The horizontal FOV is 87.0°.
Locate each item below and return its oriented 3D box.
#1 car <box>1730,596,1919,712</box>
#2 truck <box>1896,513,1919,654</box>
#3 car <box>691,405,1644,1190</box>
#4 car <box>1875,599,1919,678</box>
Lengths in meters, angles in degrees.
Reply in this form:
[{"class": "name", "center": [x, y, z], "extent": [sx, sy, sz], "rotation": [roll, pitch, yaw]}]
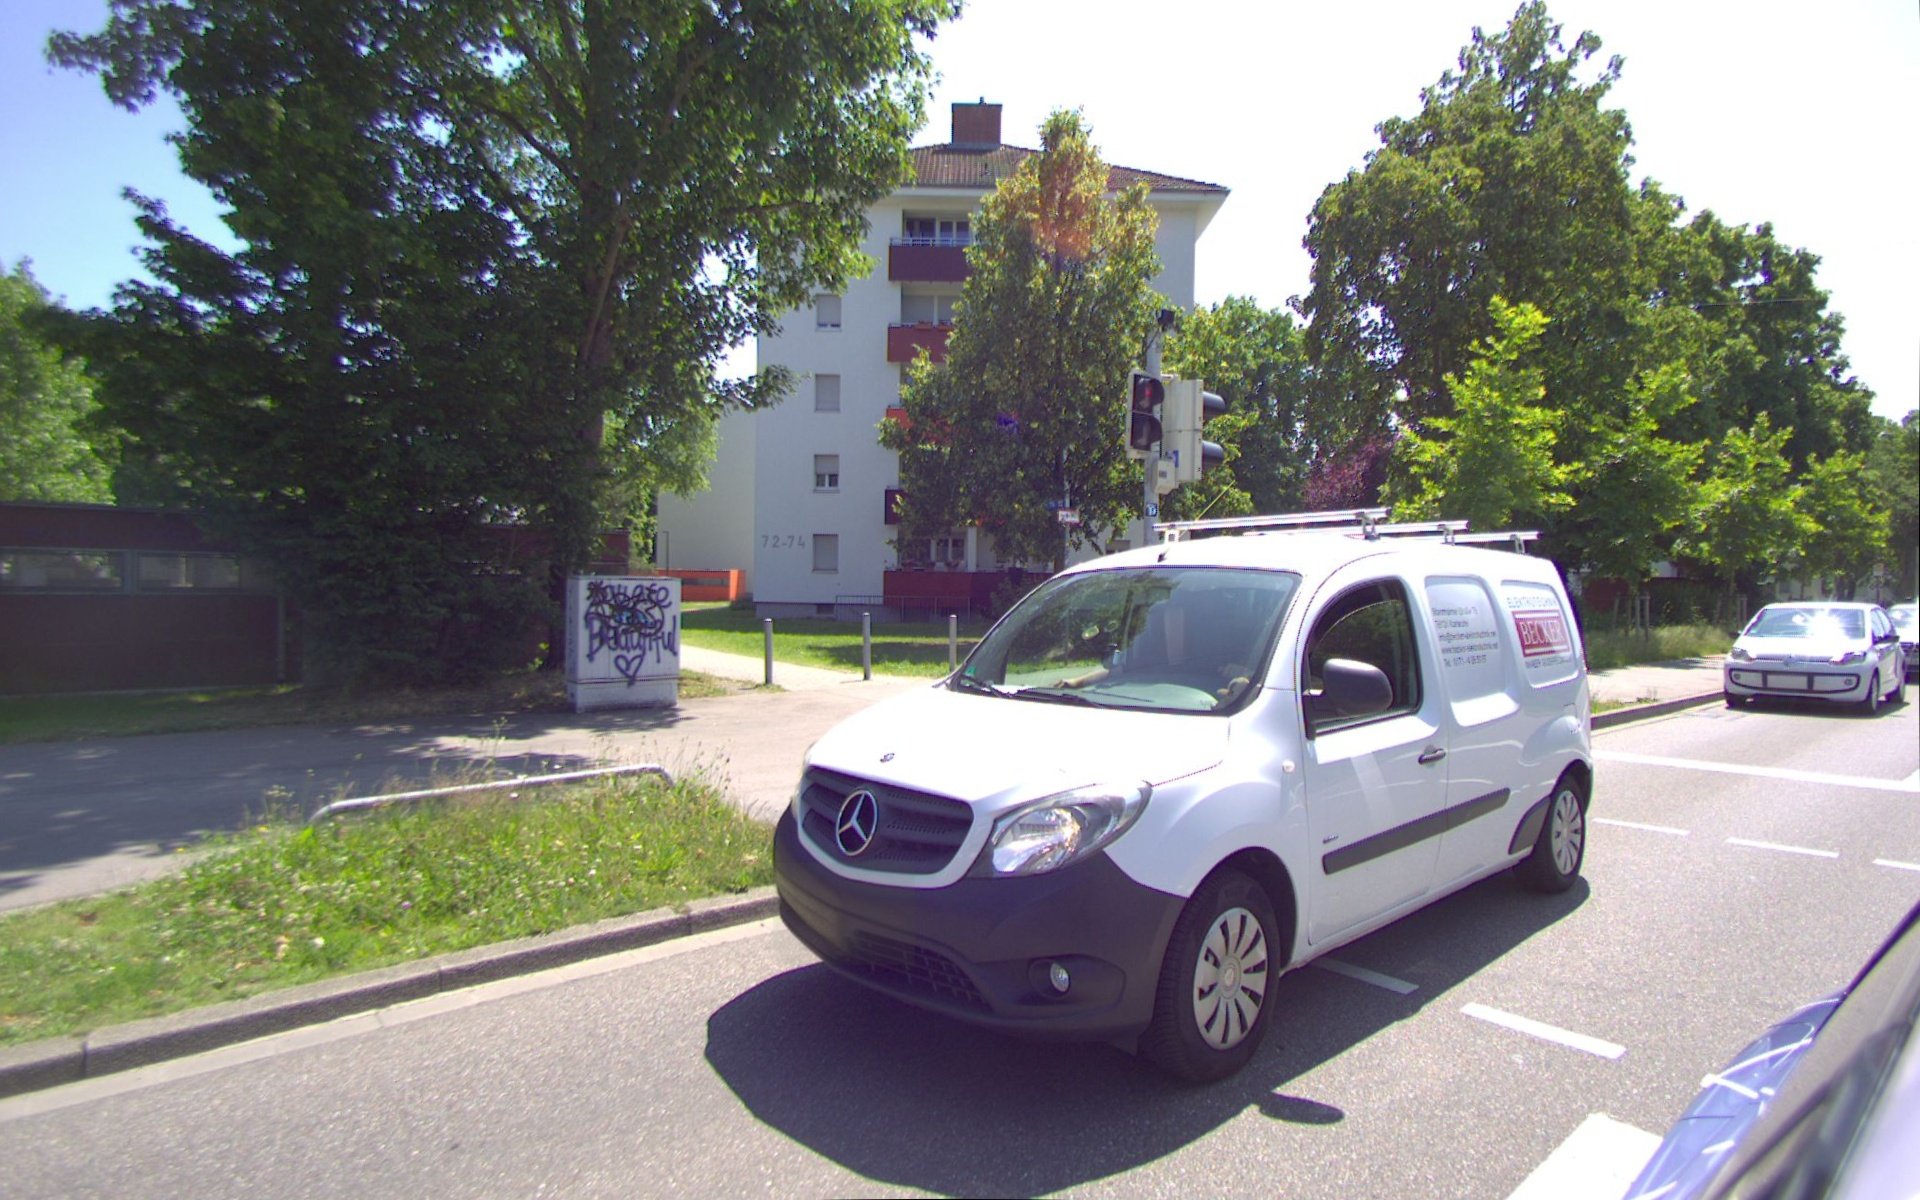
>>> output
[{"class": "car", "center": [12.460, 0.678, 14.491], "extent": [3.437, 1.459, 1.625], "rotation": [0, 0, -41]}, {"class": "truck", "center": [25.814, -0.391, 25.404], "extent": [6.485, 3.337, 2.490], "rotation": [0, 1, -39]}, {"class": "car", "center": [1.439, 0.467, 4.781], "extent": [4.995, 1.879, 1.807], "rotation": [0, 0, -42]}, {"class": "car", "center": [18.689, 0.682, 19.057], "extent": [4.041, 1.399, 1.617], "rotation": [0, 0, -40]}]
